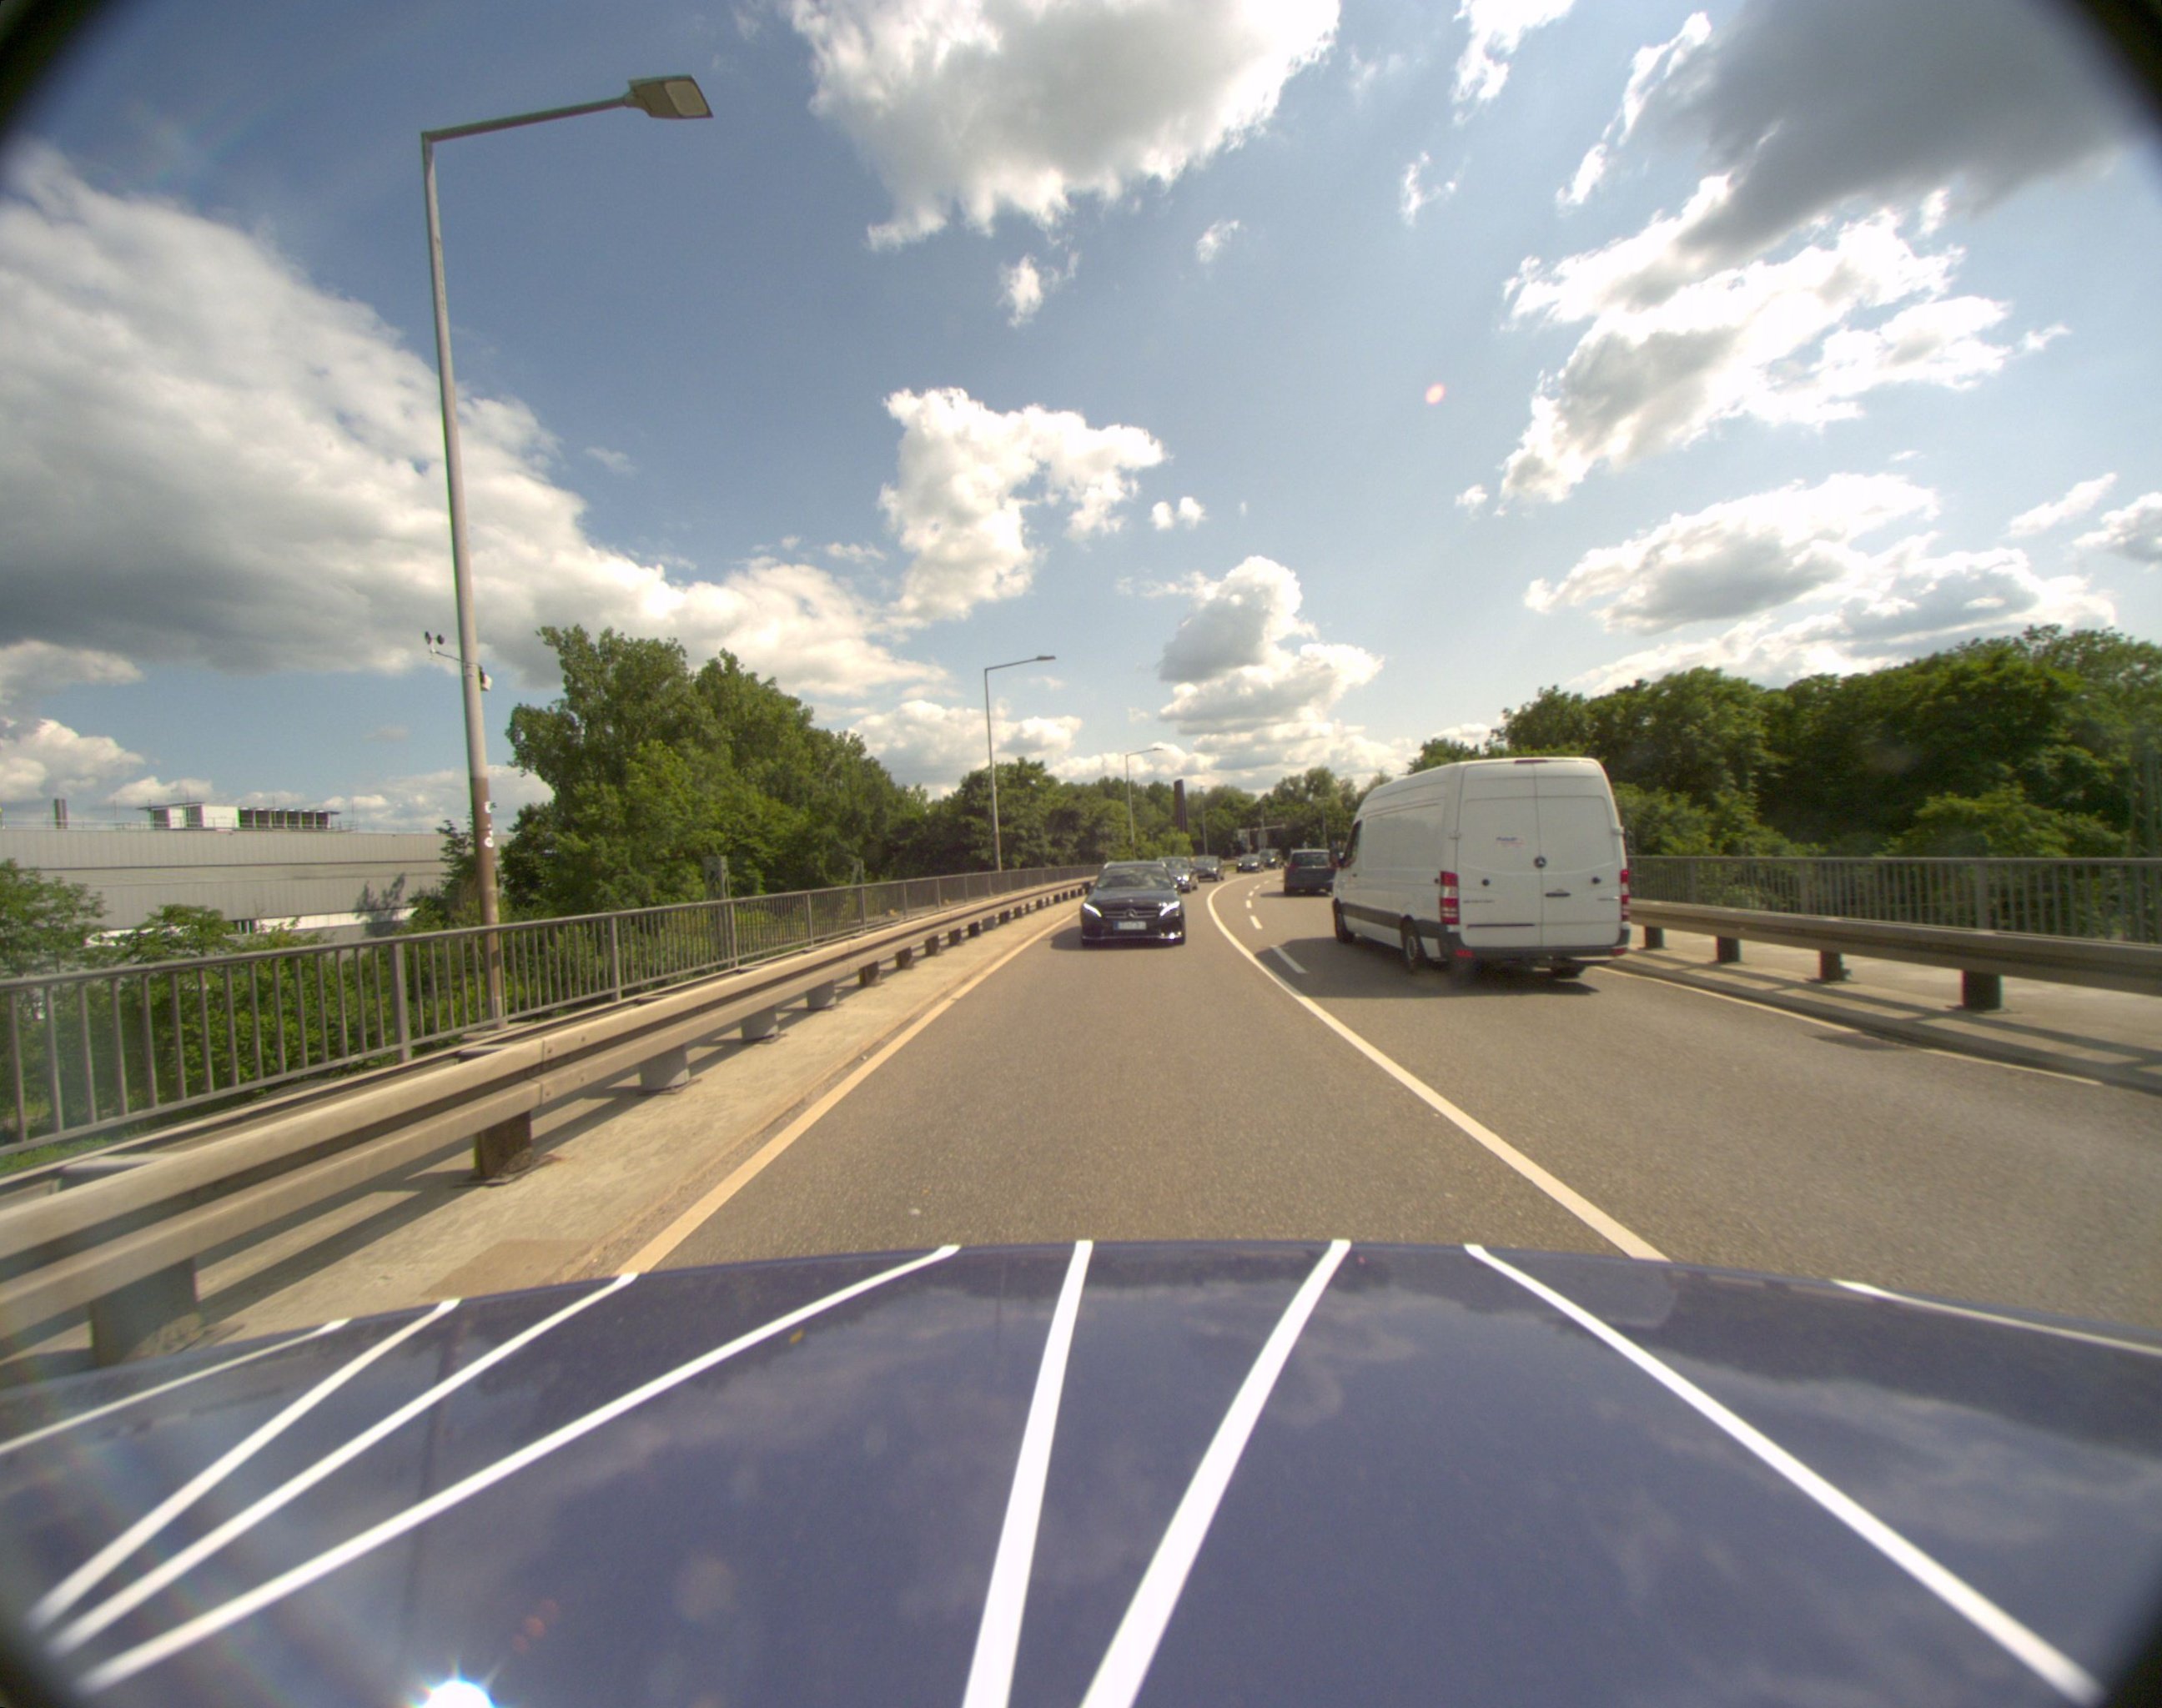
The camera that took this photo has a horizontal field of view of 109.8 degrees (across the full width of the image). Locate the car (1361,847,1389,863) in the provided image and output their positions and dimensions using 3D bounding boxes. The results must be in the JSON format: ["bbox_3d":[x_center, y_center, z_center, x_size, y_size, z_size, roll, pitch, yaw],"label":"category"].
[{"bbox_3d":[29.525,0.095,76.200,1.748,1.441,4.345,-1,1,33],"label":"car"}]

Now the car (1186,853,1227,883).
[{"bbox_3d":[7.171,0.757,43.118,1.820,1.330,4.733,-4,1,14],"label":"car"}]

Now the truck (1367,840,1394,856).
[{"bbox_3d":[36.794,-0.795,93.302,1.961,1.902,5.381,-1,0,35],"label":"truck"}]

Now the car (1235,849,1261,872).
[{"bbox_3d":[13.245,0.486,60.142,1.636,1.505,3.723,-4,3,17],"label":"car"}]

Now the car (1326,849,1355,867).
[{"bbox_3d":[21.576,0.343,63.124,1.795,1.367,4.587,-1,0,25],"label":"car"}]

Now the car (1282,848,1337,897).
[{"bbox_3d":[8.294,0.601,27.852,1.720,1.622,4.432,-1,1,14],"label":"car"}]

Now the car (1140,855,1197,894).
[{"bbox_3d":[3.686,0.801,31.312,1.856,1.355,4.003,-1,1,13],"label":"car"}]

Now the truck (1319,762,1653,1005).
[{"bbox_3d":[5.115,0.306,10.836,1.998,2.493,5.949,-1,0,5],"label":"truck"}]

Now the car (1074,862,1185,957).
[{"bbox_3d":[1.039,0.924,14.539,1.794,1.427,4.371,0,1,7],"label":"car"}]
